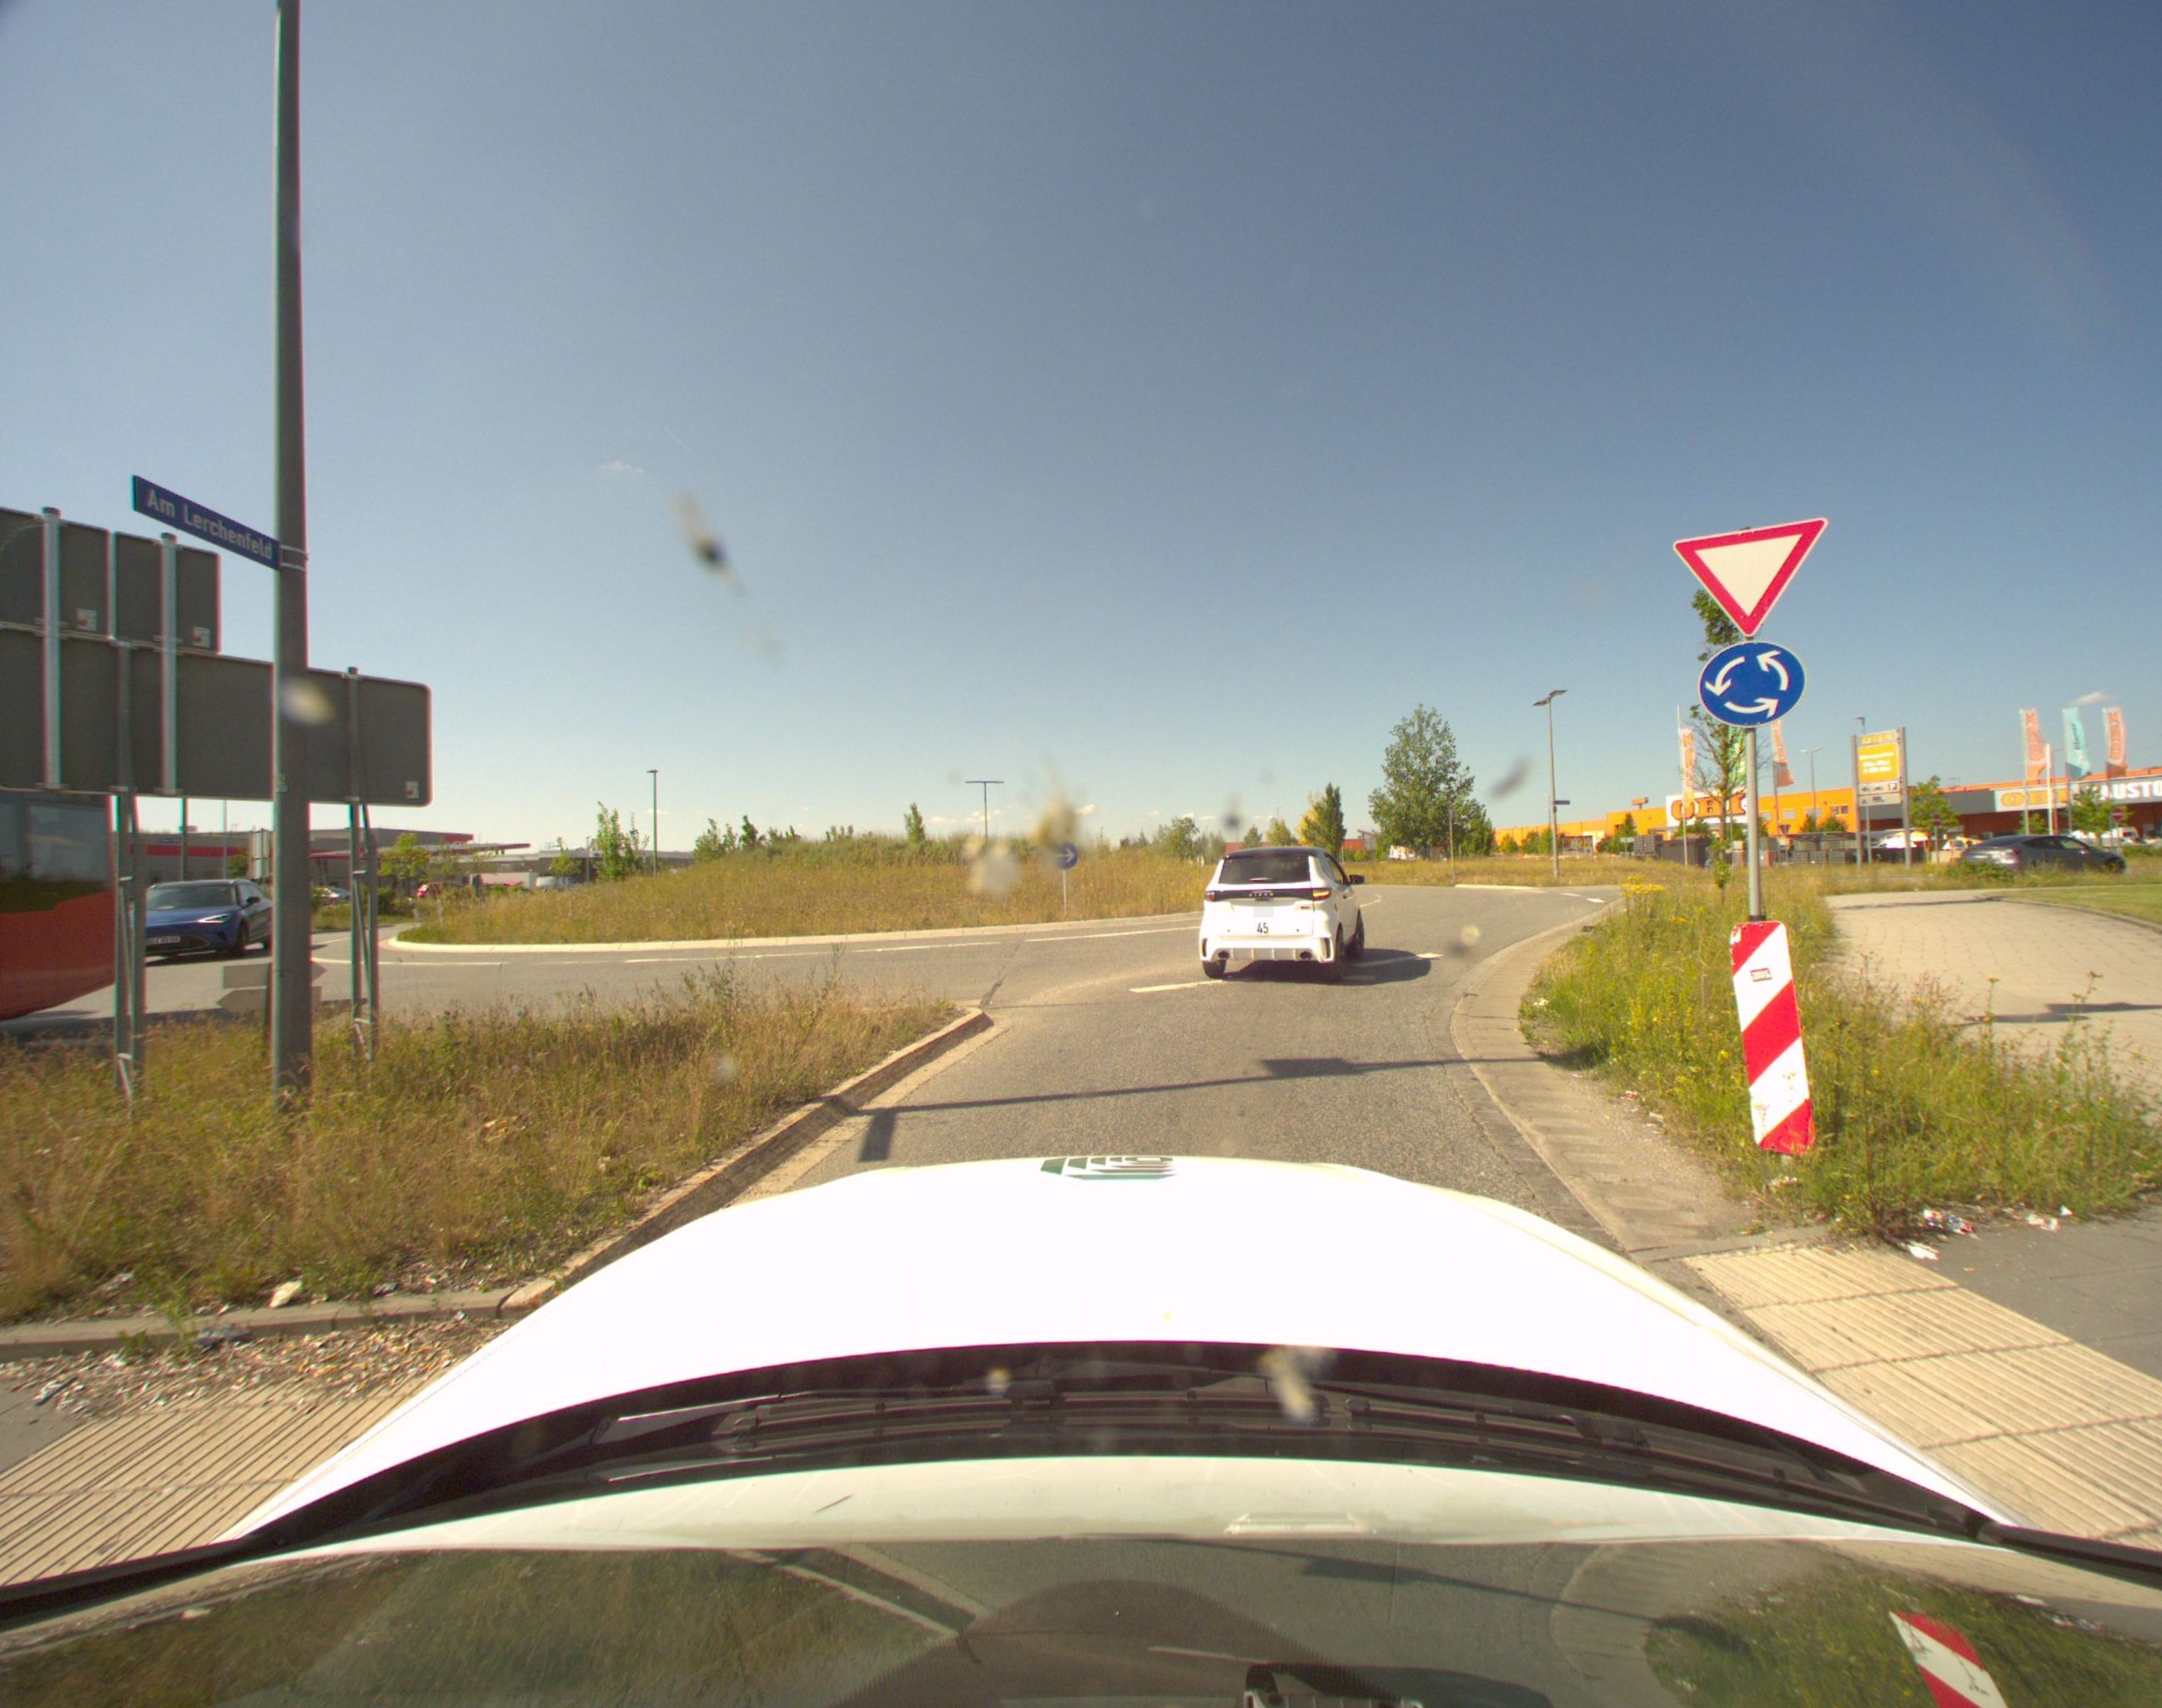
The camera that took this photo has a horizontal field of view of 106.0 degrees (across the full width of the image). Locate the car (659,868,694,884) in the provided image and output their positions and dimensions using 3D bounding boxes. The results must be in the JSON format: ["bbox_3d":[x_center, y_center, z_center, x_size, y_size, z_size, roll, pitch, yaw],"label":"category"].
[{"bbox_3d":[-45.173,2.463,91.067,1.989,1.732,3.996,-2,-1,-2],"label":"car"}]

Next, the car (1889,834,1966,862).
[{"bbox_3d":[57.150,-0.370,55.007,3.758,1.841,1.696,0,-2,-7],"label":"car"}]

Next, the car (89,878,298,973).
[{"bbox_3d":[-18.372,1.378,17.118,1.863,1.635,4.039,-3,0,-31],"label":"car"}]

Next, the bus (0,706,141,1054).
[{"bbox_3d":[-9.519,0.219,3.546,2.623,3.241,11.777,-3,0,-26],"label":"bus"}]

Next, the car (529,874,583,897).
[{"bbox_3d":[-48.994,2.946,76.124,1.990,2.014,5.128,-2,-1,-4],"label":"car"}]

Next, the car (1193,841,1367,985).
[{"bbox_3d":[2.611,0.587,10.126,1.496,1.440,3.370,-1,1,24],"label":"car"}]

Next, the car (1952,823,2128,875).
[{"bbox_3d":[33.265,-0.151,28.326,4.146,1.584,1.829,-2,-1,-4],"label":"car"}]
